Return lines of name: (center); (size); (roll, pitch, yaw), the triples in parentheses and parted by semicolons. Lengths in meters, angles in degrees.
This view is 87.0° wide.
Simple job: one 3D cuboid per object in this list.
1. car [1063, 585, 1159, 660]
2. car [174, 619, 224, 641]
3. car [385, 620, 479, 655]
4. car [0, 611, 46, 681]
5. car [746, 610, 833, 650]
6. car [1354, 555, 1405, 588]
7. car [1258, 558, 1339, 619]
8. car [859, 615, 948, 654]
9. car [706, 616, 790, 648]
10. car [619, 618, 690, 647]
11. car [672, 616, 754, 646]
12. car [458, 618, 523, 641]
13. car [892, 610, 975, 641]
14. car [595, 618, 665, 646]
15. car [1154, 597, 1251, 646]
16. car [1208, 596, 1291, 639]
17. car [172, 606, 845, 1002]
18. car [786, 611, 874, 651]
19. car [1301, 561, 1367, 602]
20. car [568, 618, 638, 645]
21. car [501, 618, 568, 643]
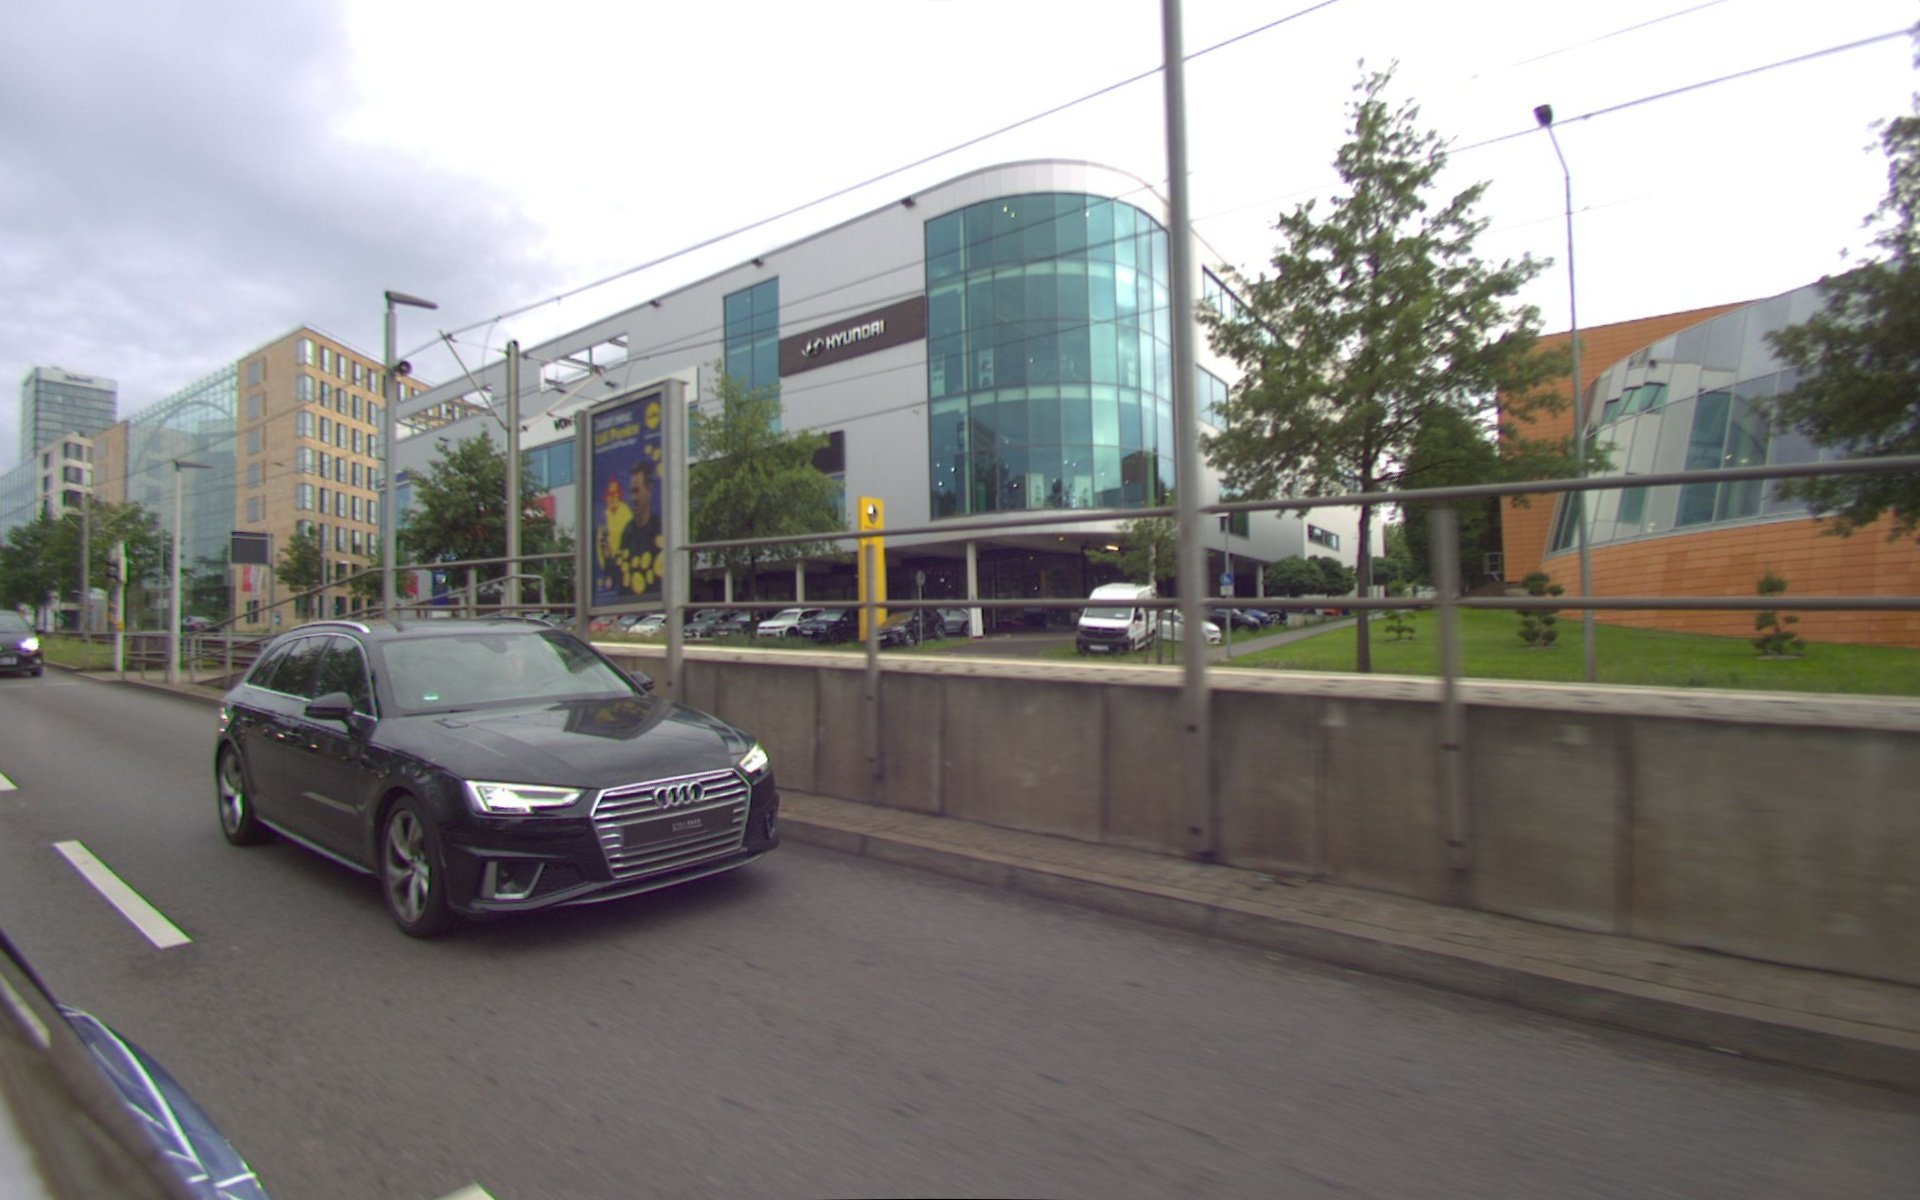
car: (5.819, 0.776, 38.320); (2.265, 2.648, 5.441); (-1, 0, 23)
car: (-55.471, 2.154, 73.713); (4.871, 1.447, 1.973); (-1, 0, 41)
car: (-23.037, 1.597, 44.090); (4.871, 1.399, 1.973); (-1, 0, 41)
car: (-22.360, 1.046, 23.121); (3.999, 1.513, 1.775); (-2, -1, 42)
car: (-8.153, 1.428, 48.770); (1.917, 1.674, 3.954); (-1, 1, 34)
car: (33.687, -2.210, 81.152); (2.741, 2.513, 5.420); (-1, 0, 35)
car: (19.375, -0.613, 57.805); (2.993, 3.296, 5.420); (-1, 0, 35)
car: (-2.386, 1.438, 43.647); (1.891, 1.519, 3.956); (-1, 0, 32)
car: (-10.540, 1.554, 50.504); (1.819, 1.502, 3.954); (-1, -1, 34)
car: (-16.985, 1.799, 56.508); (1.812, 1.502, 3.814); (-1, -1, 22)
car: (-12.855, 1.584, 52.813); (1.819, 1.502, 3.954); (-1, -1, 34)
car: (-31.579, 1.977, 68.154); (1.812, 1.502, 3.814); (-1, -1, 22)
car: (-1.260, 1.246, 49.589); (3.946, 1.480, 1.770); (-1, -1, 2)
car: (-18.943, 1.816, 58.207); (1.812, 1.502, 3.814); (-1, -1, 22)
car: (10.480, 0.864, 43.468); (2.273, 1.940, 5.420); (-1, 0, 35)
car: (14.057, 0.796, 48.901); (2.273, 1.940, 5.420); (-1, 0, 35)
car: (-2.971, 0.797, 5.970); (4.826, 1.445, 1.771); (-2, -1, 41)
car: (-6.017, 1.408, 47.167); (1.917, 1.674, 3.954); (-1, 0, 34)
car: (24.030, -1.167, 64.910); (2.741, 2.513, 5.420); (-1, 0, 35)
car: (-20.994, 1.834, 59.590); (1.812, 1.502, 3.814); (-1, -1, 22)
car: (-27.243, 1.929, 64.862); (1.812, 1.502, 3.814); (-1, -1, 22)
